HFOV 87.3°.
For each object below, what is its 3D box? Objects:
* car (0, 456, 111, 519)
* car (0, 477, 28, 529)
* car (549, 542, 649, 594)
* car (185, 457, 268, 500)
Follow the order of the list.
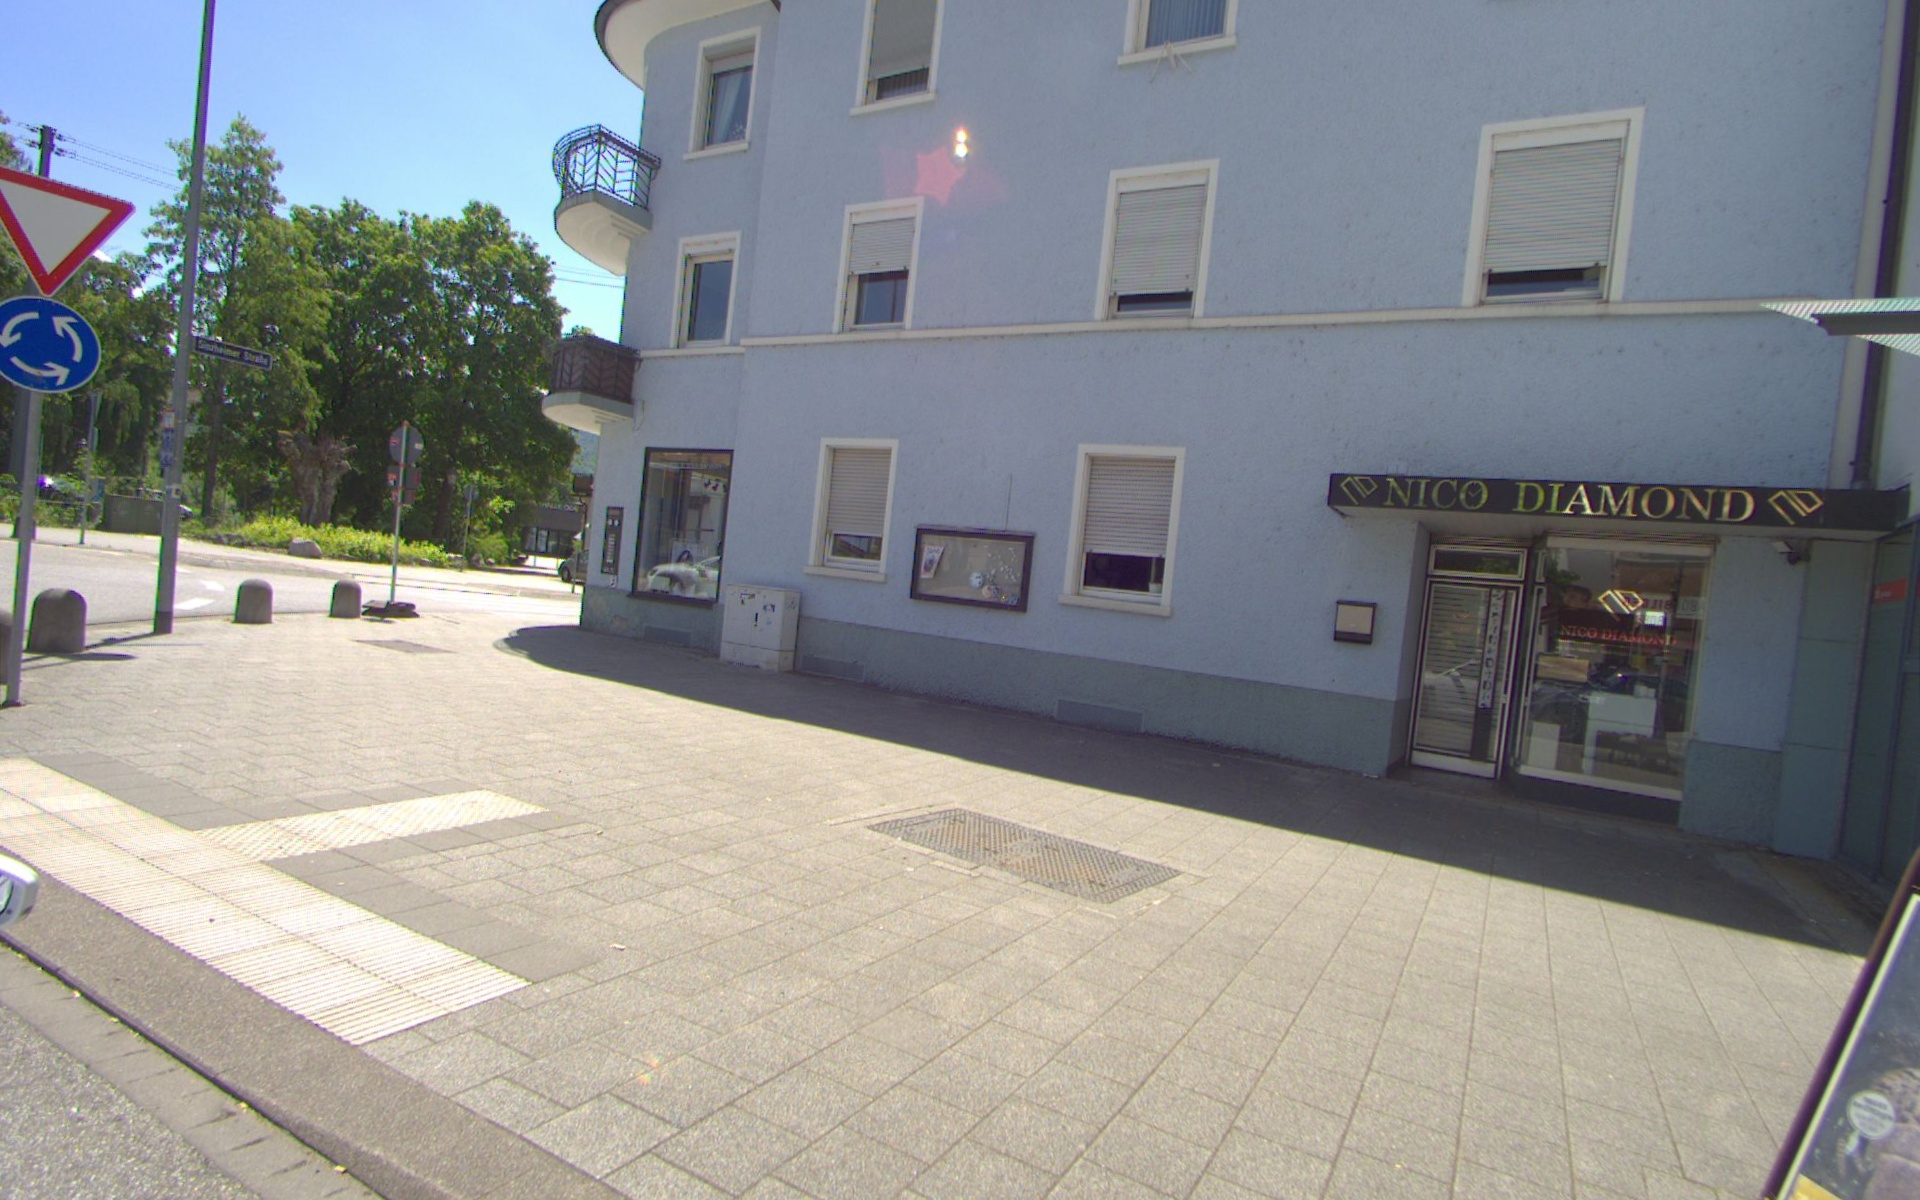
[{"bbox_3d":[-38.007,-4.675,41.518,3.933,2.039,1.995,7,1,-10],"label":"car"},{"bbox_3d":[-31.546,-3.221,31.467,1.603,1.572,3.058,7,1,16],"label":"car"},{"bbox_3d":[-14.995,-1.349,41.769,3.935,1.661,1.753,7,1,33],"label":"car"},{"bbox_3d":[-46.156,-7.617,63.415,3.961,2.039,1.981,6,1,-34],"label":"car"}]
